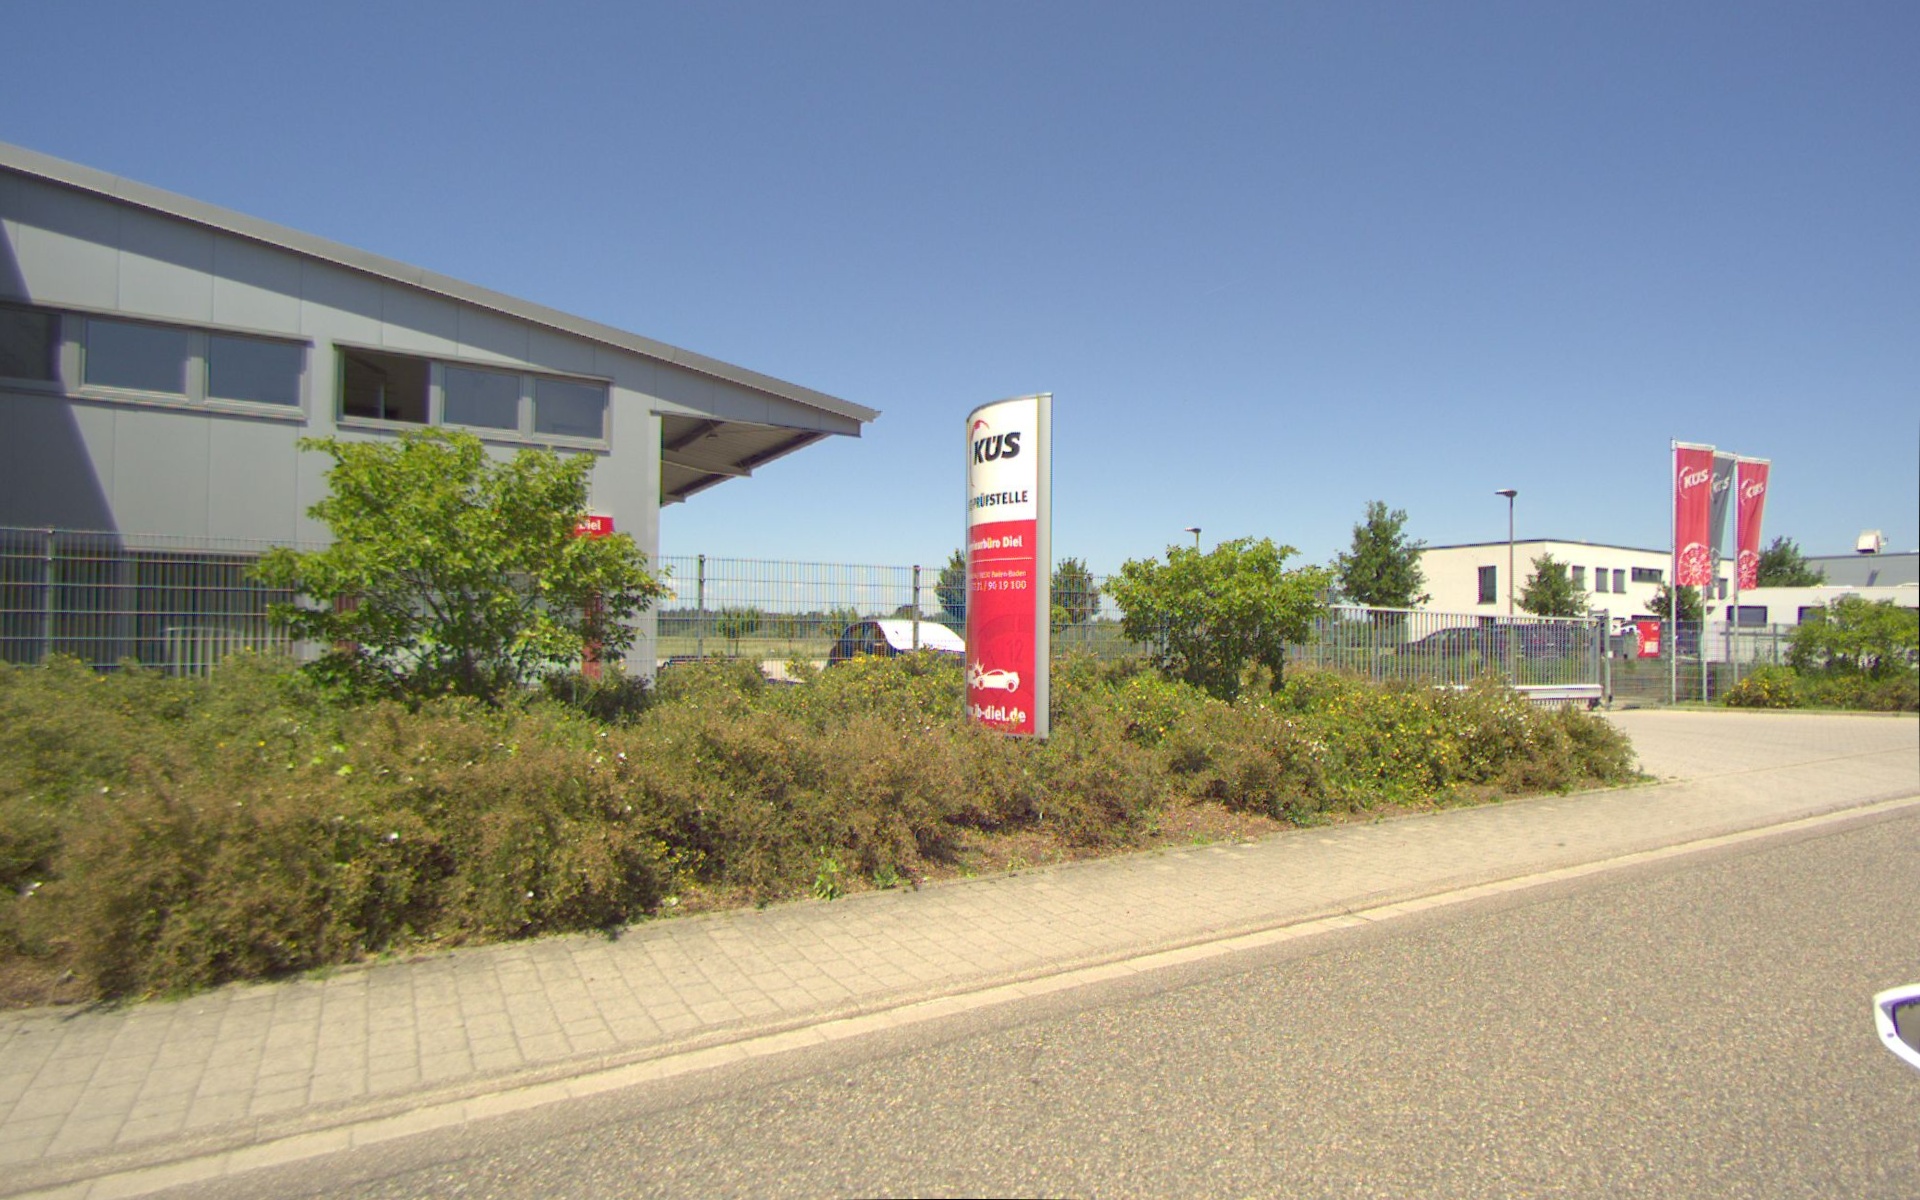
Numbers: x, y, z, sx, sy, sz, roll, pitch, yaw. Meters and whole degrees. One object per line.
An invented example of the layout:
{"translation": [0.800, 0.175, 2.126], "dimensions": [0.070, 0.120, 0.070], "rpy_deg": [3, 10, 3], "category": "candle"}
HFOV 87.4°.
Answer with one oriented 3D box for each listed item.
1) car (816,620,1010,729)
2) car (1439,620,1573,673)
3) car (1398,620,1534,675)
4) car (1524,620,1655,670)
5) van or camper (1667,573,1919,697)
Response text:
{"translation": [-0.853, 1.122, 16.320], "dimensions": [1.543, 1.572, 3.478], "rpy_deg": [1, -2, -35], "category": "car"}
{"translation": [20.133, 1.689, 37.207], "dimensions": [1.895, 1.839, 3.967], "rpy_deg": [1, -2, -31], "category": "car"}
{"translation": [18.042, 1.660, 35.990], "dimensions": [1.895, 1.839, 3.967], "rpy_deg": [1, -2, -31], "category": "car"}
{"translation": [24.843, 1.758, 39.754], "dimensions": [1.895, 1.839, 3.967], "rpy_deg": [1, -2, -31], "category": "car"}
{"translation": [23.977, 0.936, 27.285], "dimensions": [2.758, 3.077, 7.348], "rpy_deg": [1, -2, -31], "category": "van or camper"}
